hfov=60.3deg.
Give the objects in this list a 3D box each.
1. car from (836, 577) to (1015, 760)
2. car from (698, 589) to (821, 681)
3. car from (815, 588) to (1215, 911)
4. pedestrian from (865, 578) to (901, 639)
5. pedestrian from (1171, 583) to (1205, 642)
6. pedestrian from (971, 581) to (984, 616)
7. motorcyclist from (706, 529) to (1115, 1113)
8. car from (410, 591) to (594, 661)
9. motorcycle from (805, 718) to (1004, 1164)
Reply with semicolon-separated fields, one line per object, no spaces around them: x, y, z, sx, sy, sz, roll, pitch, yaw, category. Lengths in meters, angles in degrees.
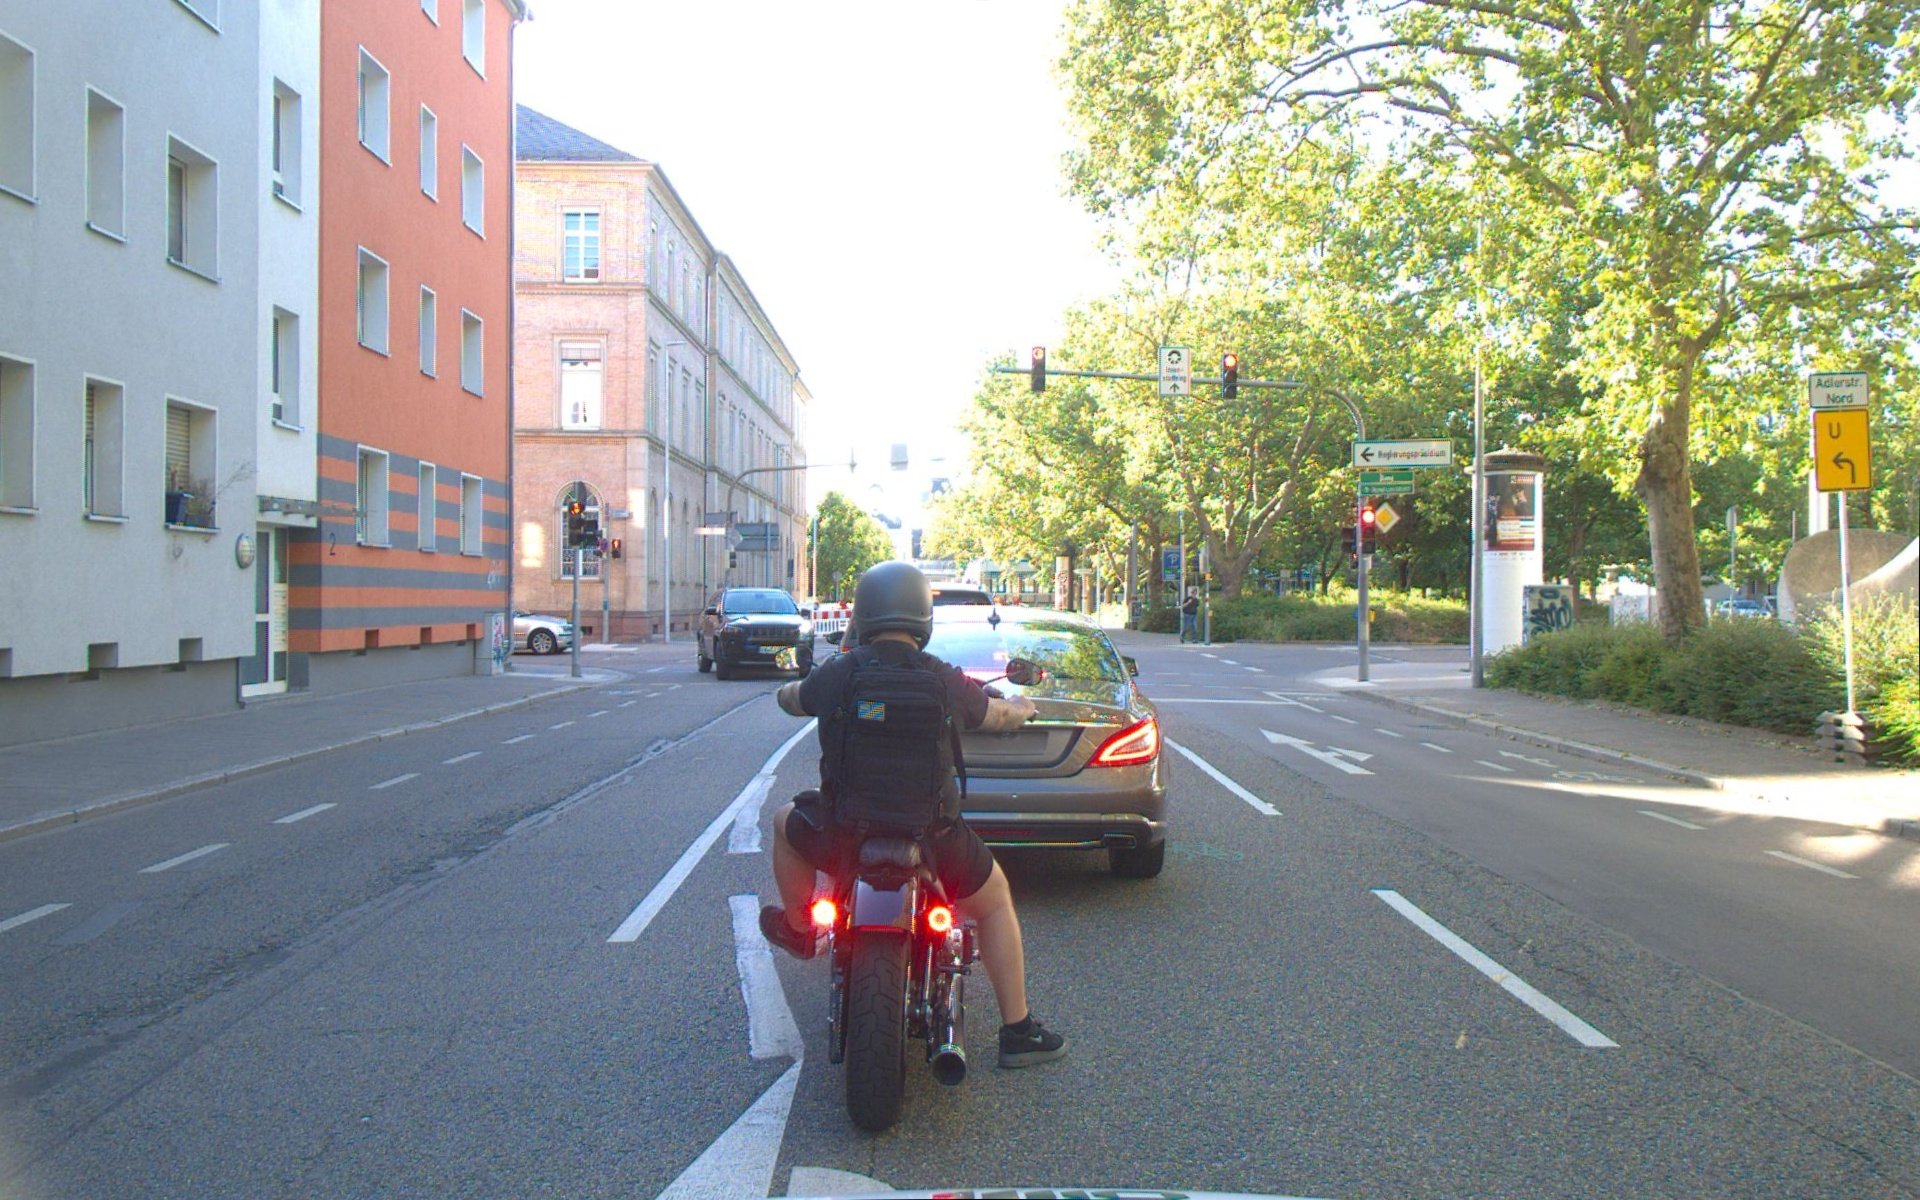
-0.335;0.601;16.726;1.588;1.622;3.999;0;0;-1;car
-3.865;0.627;31.285;1.818;1.597;4.370;1;0;-13;car
0.231;0.689;9.618;1.844;1.475;3.819;1;0;-1;car
-2.413;0.267;52.005;0.980;1.858;1.077;1;-1;5;pedestrian
7.723;0.420;55.989;0.741;1.943;0.917;1;-1;-29;pedestrian
1.081;-0.085;100.828;0.748;2.087;0.712;1;-1;-1;pedestrian
-0.146;0.626;5.304;1.125;1.626;1.288;1;0;-1;motorcyclist
-11.186;0.633;40.640;4.042;1.602;1.856;1;0;-6;car
-0.160;0.964;5.329;0.503;1.020;2.013;1;0;-1;motorcycle
